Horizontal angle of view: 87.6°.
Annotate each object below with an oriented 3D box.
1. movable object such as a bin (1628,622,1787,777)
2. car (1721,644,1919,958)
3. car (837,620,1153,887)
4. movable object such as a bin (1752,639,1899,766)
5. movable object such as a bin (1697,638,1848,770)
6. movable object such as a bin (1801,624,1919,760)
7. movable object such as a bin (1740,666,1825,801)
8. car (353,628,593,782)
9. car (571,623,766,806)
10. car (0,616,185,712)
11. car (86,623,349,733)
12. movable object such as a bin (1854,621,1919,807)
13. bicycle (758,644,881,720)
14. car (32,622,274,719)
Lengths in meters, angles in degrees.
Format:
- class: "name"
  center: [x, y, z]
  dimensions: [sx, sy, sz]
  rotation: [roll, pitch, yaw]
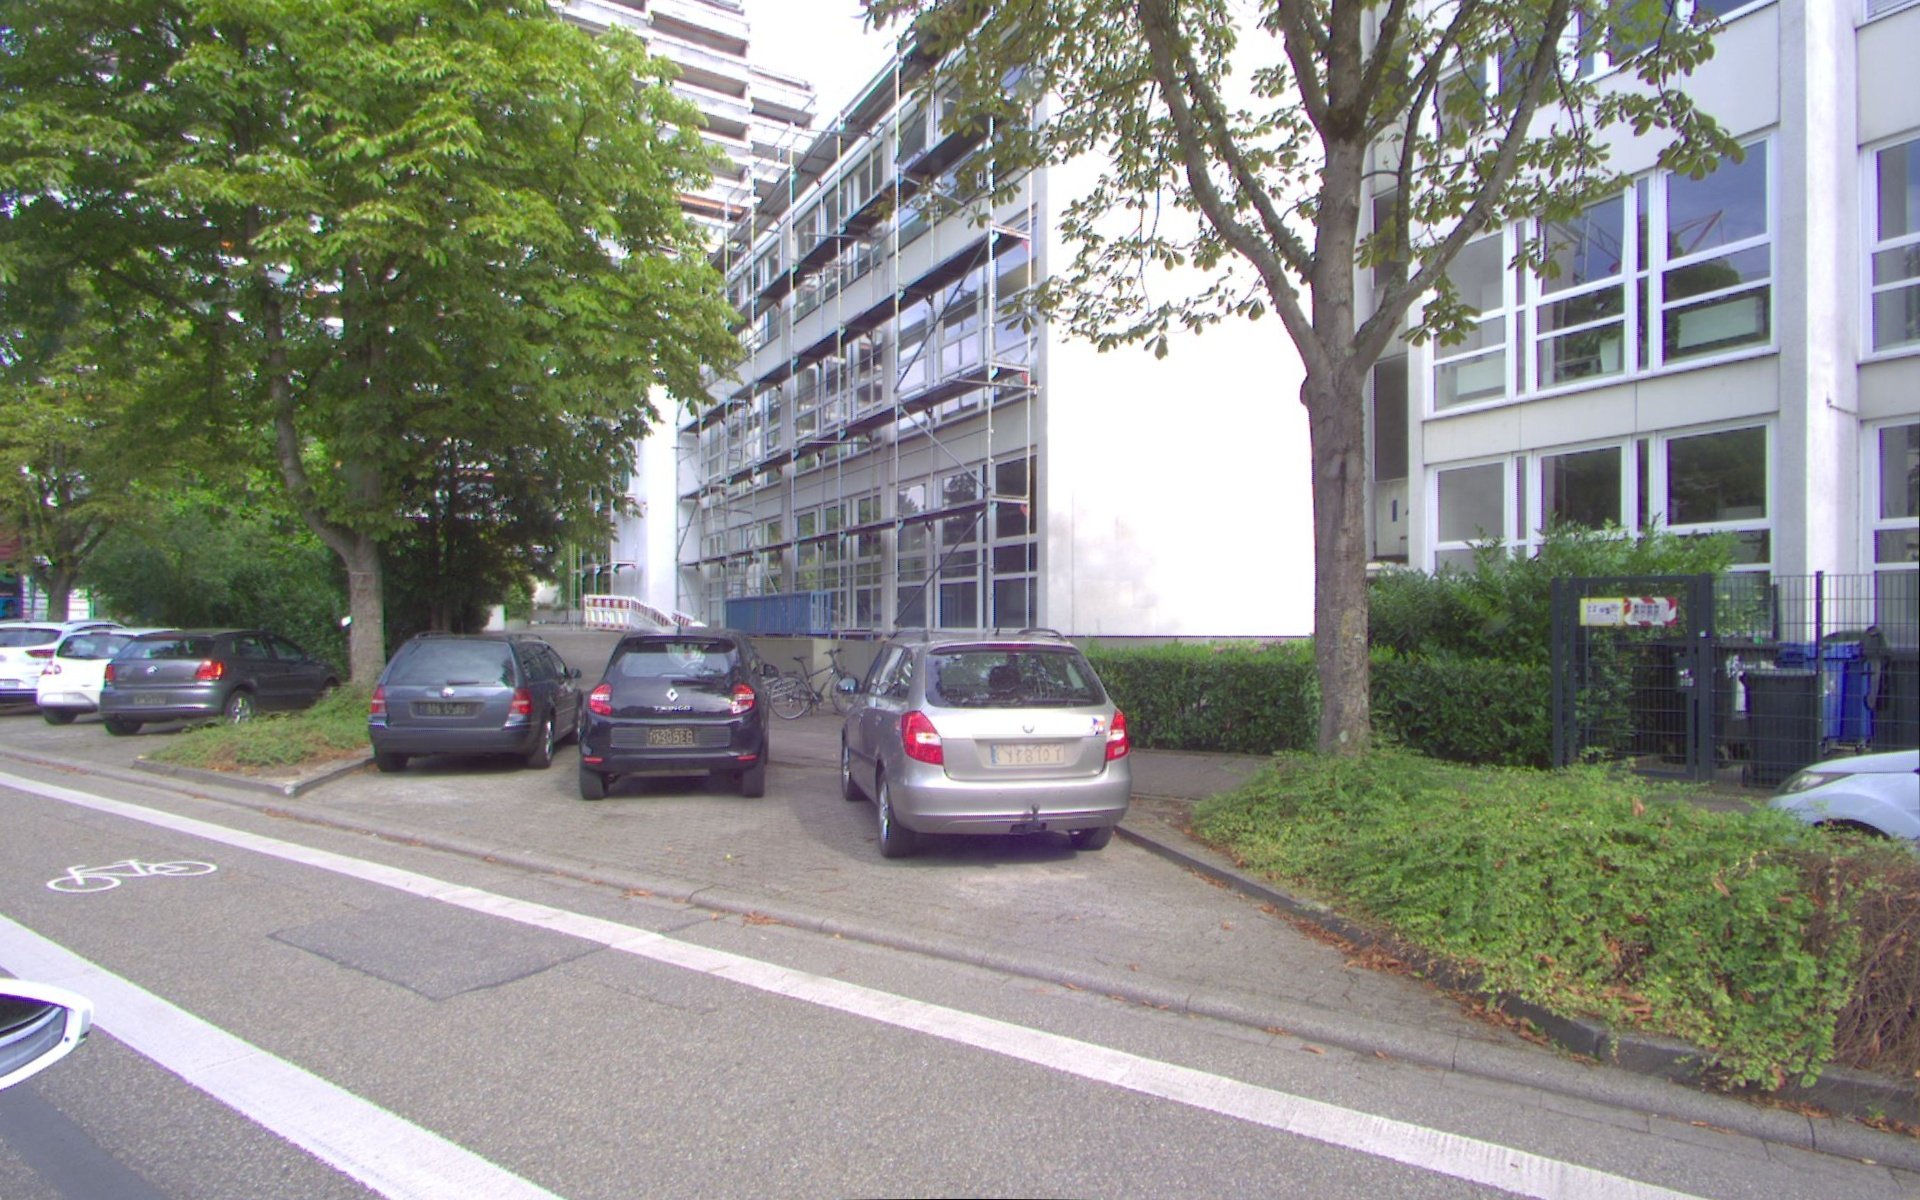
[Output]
- class: "movable object such as a bin"
  center: [8.029, 1.025, 10.773]
  dimensions: [1.105, 1.542, 1.072]
  rotation: [2, -2, -33]
- class: "car"
  center: [5.561, 0.938, 4.028]
  dimensions: [1.611, 1.478, 3.825]
  rotation: [1, -2, -14]
- class: "car"
  center: [0.014, 0.961, 7.803]
  dimensions: [1.610, 1.541, 3.738]
  rotation: [1, -2, -12]
- class: "movable object such as a bin"
  center: [10.116, 1.158, 11.723]
  dimensions: [1.021, 1.385, 1.072]
  rotation: [2, -2, -33]
- class: "movable object such as a bin"
  center: [9.131, 1.126, 11.268]
  dimensions: [1.021, 1.385, 1.072]
  rotation: [2, -2, -33]
- class: "movable object such as a bin"
  center: [11.268, 1.103, 12.402]
  dimensions: [1.021, 1.582, 1.072]
  rotation: [2, -2, -33]
- class: "movable object such as a bin"
  center: [7.334, 1.158, 8.923]
  dimensions: [0.566, 1.117, 0.647]
  rotation: [0, -2, 42]
- class: "car"
  center: [-5.393, 1.076, 11.579]
  dimensions: [1.610, 1.477, 3.738]
  rotation: [1, -2, -12]
- class: "car"
  center: [-2.877, 1.042, 10.465]
  dimensions: [1.610, 1.541, 3.738]
  rotation: [1, -2, -12]
- class: "car"
  center: [-16.181, 1.101, 18.327]
  dimensions: [1.530, 1.593, 3.447]
  rotation: [0, -1, -6]
- class: "car"
  center: [-11.001, 1.098, 15.172]
  dimensions: [1.593, 1.461, 3.536]
  rotation: [0, -1, -6]
- class: "movable object such as a bin"
  center: [8.532, 0.954, 8.458]
  dimensions: [1.316, 1.527, 1.067]
  rotation: [0, -2, 34]
- class: "bicycle"
  center: [-2.313, 1.333, 16.564]
  dimensions: [1.943, 1.143, 0.536]
  rotation: [-1, 0, -27]
- class: "car"
  center: [-13.437, 1.124, 16.946]
  dimensions: [1.530, 1.461, 3.447]
  rotation: [0, -1, -6]
